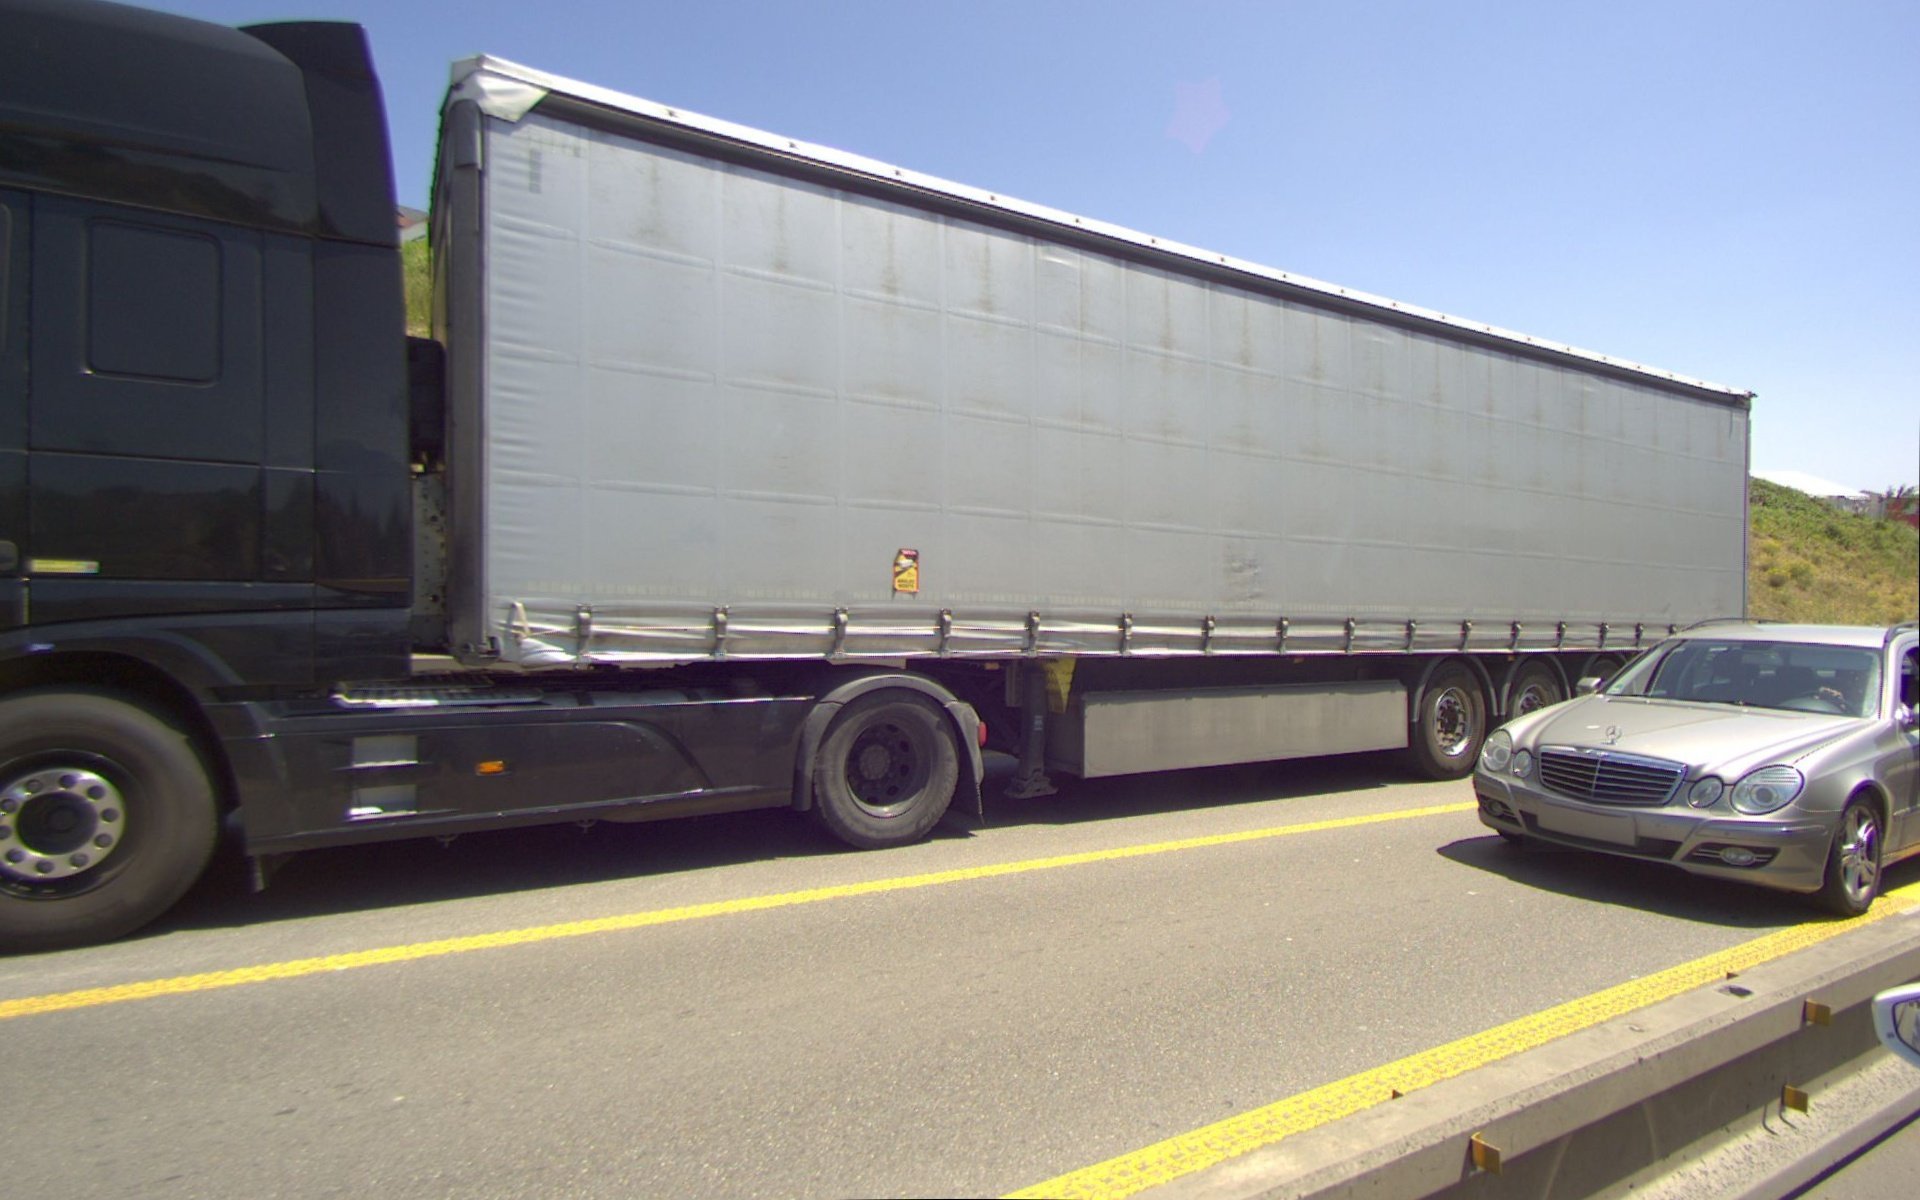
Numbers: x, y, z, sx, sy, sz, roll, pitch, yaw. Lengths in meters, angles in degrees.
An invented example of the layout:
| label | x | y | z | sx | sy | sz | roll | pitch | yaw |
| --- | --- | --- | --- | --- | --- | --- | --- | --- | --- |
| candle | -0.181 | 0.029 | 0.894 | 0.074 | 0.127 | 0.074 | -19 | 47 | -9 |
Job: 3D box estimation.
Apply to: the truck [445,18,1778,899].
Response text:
| label | x | y | z | sx | sy | sz | roll | pitch | yaw |
| --- | --- | --- | --- | --- | --- | --- | --- | --- | --- |
| truck | 2.925 | -0.542 | 9.417 | 13.645 | 4.142 | 2.753 | 1 | 0 | -31 |

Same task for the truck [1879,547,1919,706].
| label | x | y | z | sx | sy | sz | roll | pitch | yaw |
| --- | --- | --- | --- | --- | --- | --- | --- | --- | --- |
| truck | 20.418 | 0.550 | 19.440 | 5.782 | 2.921 | 2.257 | 1 | 0 | -30 |

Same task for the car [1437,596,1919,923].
| label | x | y | z | sx | sy | sz | roll | pitch | yaw |
| --- | --- | --- | --- | --- | --- | --- | --- | --- | --- |
| car | 5.197 | 0.772 | 6.487 | 4.147 | 1.506 | 1.817 | 1 | 0 | -31 |

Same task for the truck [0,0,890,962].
| label | x | y | z | sx | sy | sz | roll | pitch | yaw |
| --- | --- | --- | --- | --- | --- | --- | --- | --- | --- |
| truck | -3.235 | -0.566 | 5.717 | 4.906 | 3.936 | 2.754 | 1 | 1 | -30 |
